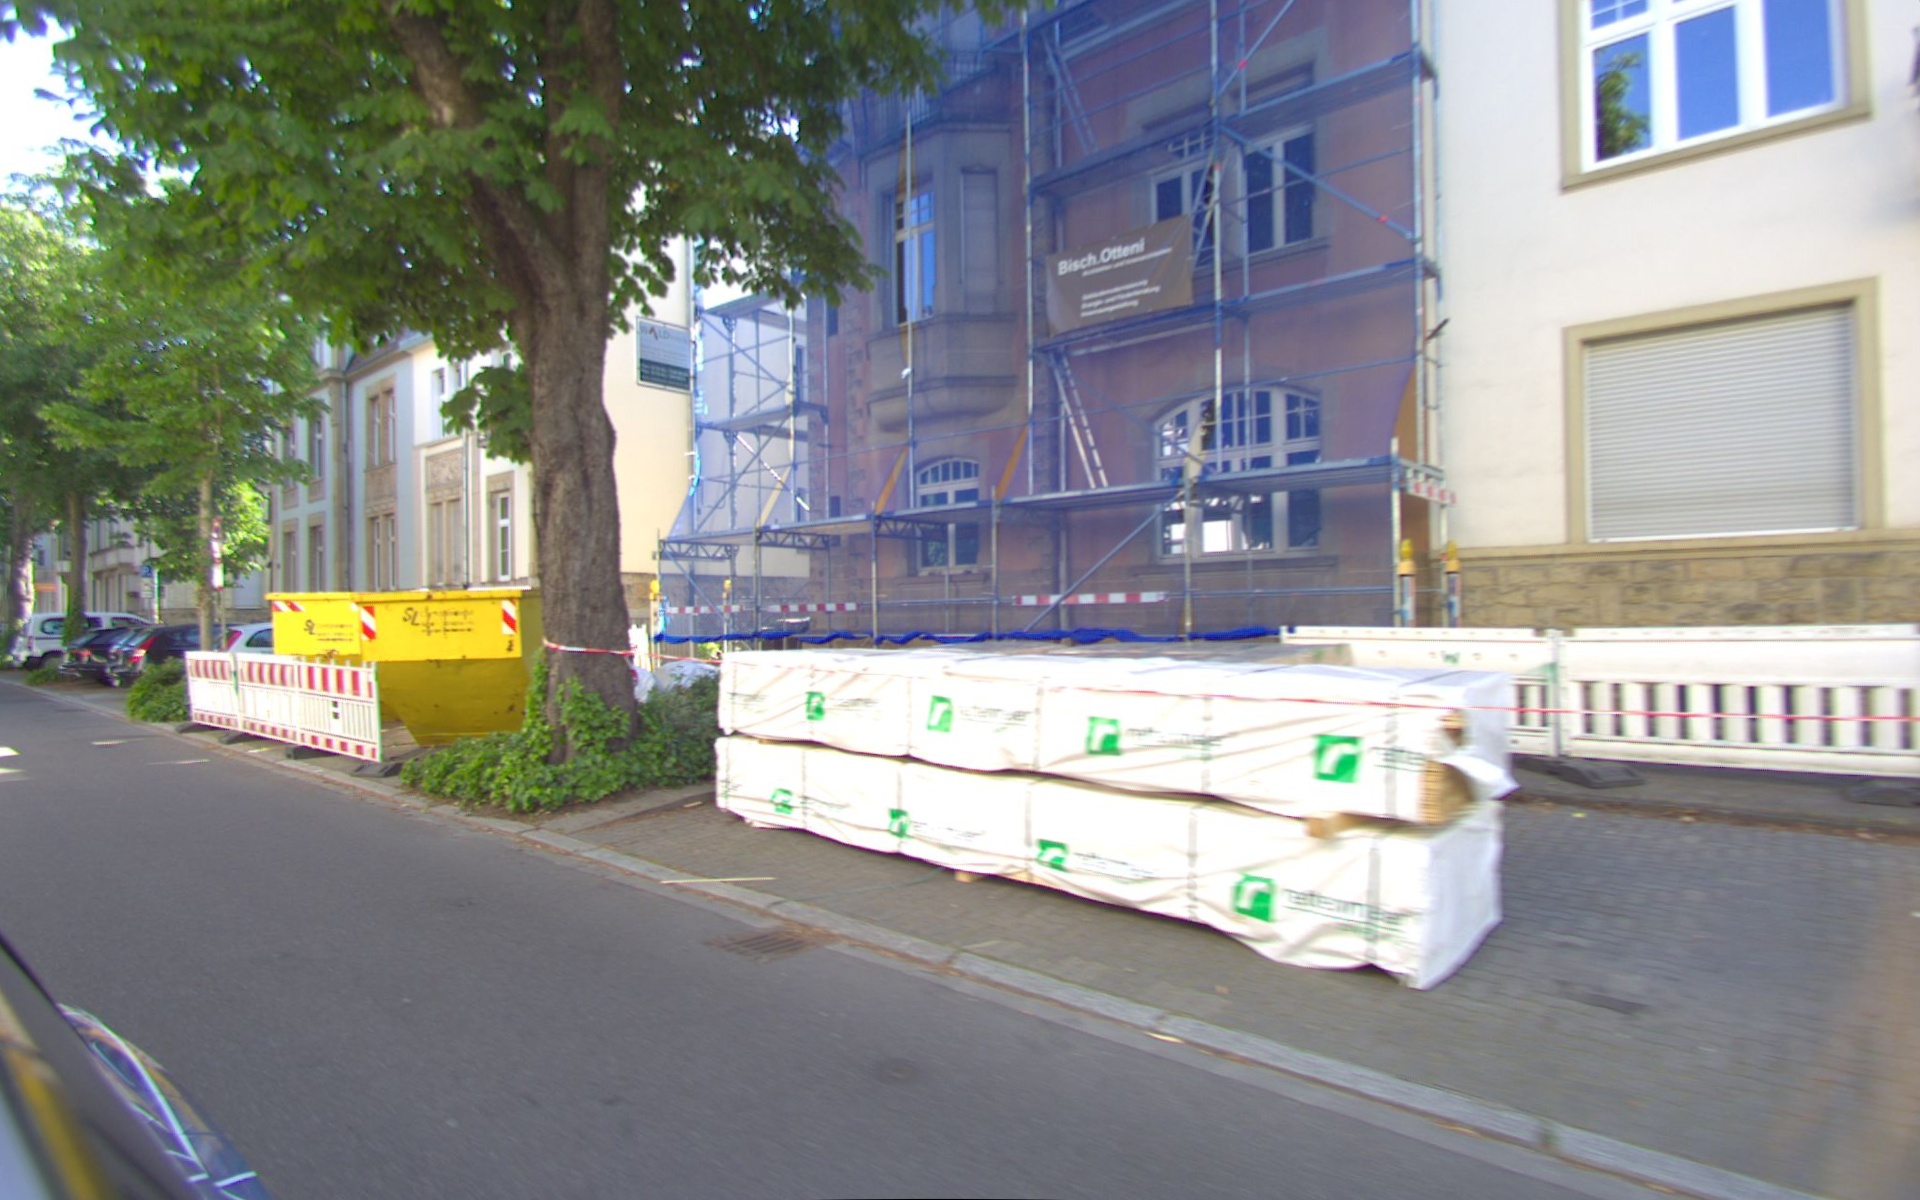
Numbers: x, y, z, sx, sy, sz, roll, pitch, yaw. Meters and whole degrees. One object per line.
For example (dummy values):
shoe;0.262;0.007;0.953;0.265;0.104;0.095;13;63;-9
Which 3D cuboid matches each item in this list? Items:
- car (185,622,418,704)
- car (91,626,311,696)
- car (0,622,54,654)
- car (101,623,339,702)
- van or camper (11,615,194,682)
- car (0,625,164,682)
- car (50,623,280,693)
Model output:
car;-12.852;1.174;19.886;1.695;1.459;3.512;-2;-2;41
car;-17.069;1.315;22.883;1.645;1.442;3.708;-2;-2;41
car;-47.588;1.923;50.177;3.939;1.443;1.806;-3;2;-42
car;-15.181;1.239;20.889;1.714;1.476;3.686;-3;-3;42
van or camper;-25.424;1.410;30.088;1.808;1.787;3.904;-3;-2;40
car;-27.116;1.604;31.258;1.720;1.528;3.687;-2;-1;39
car;-18.970;1.323;24.288;1.709;1.411;4.097;-2;-1;40
